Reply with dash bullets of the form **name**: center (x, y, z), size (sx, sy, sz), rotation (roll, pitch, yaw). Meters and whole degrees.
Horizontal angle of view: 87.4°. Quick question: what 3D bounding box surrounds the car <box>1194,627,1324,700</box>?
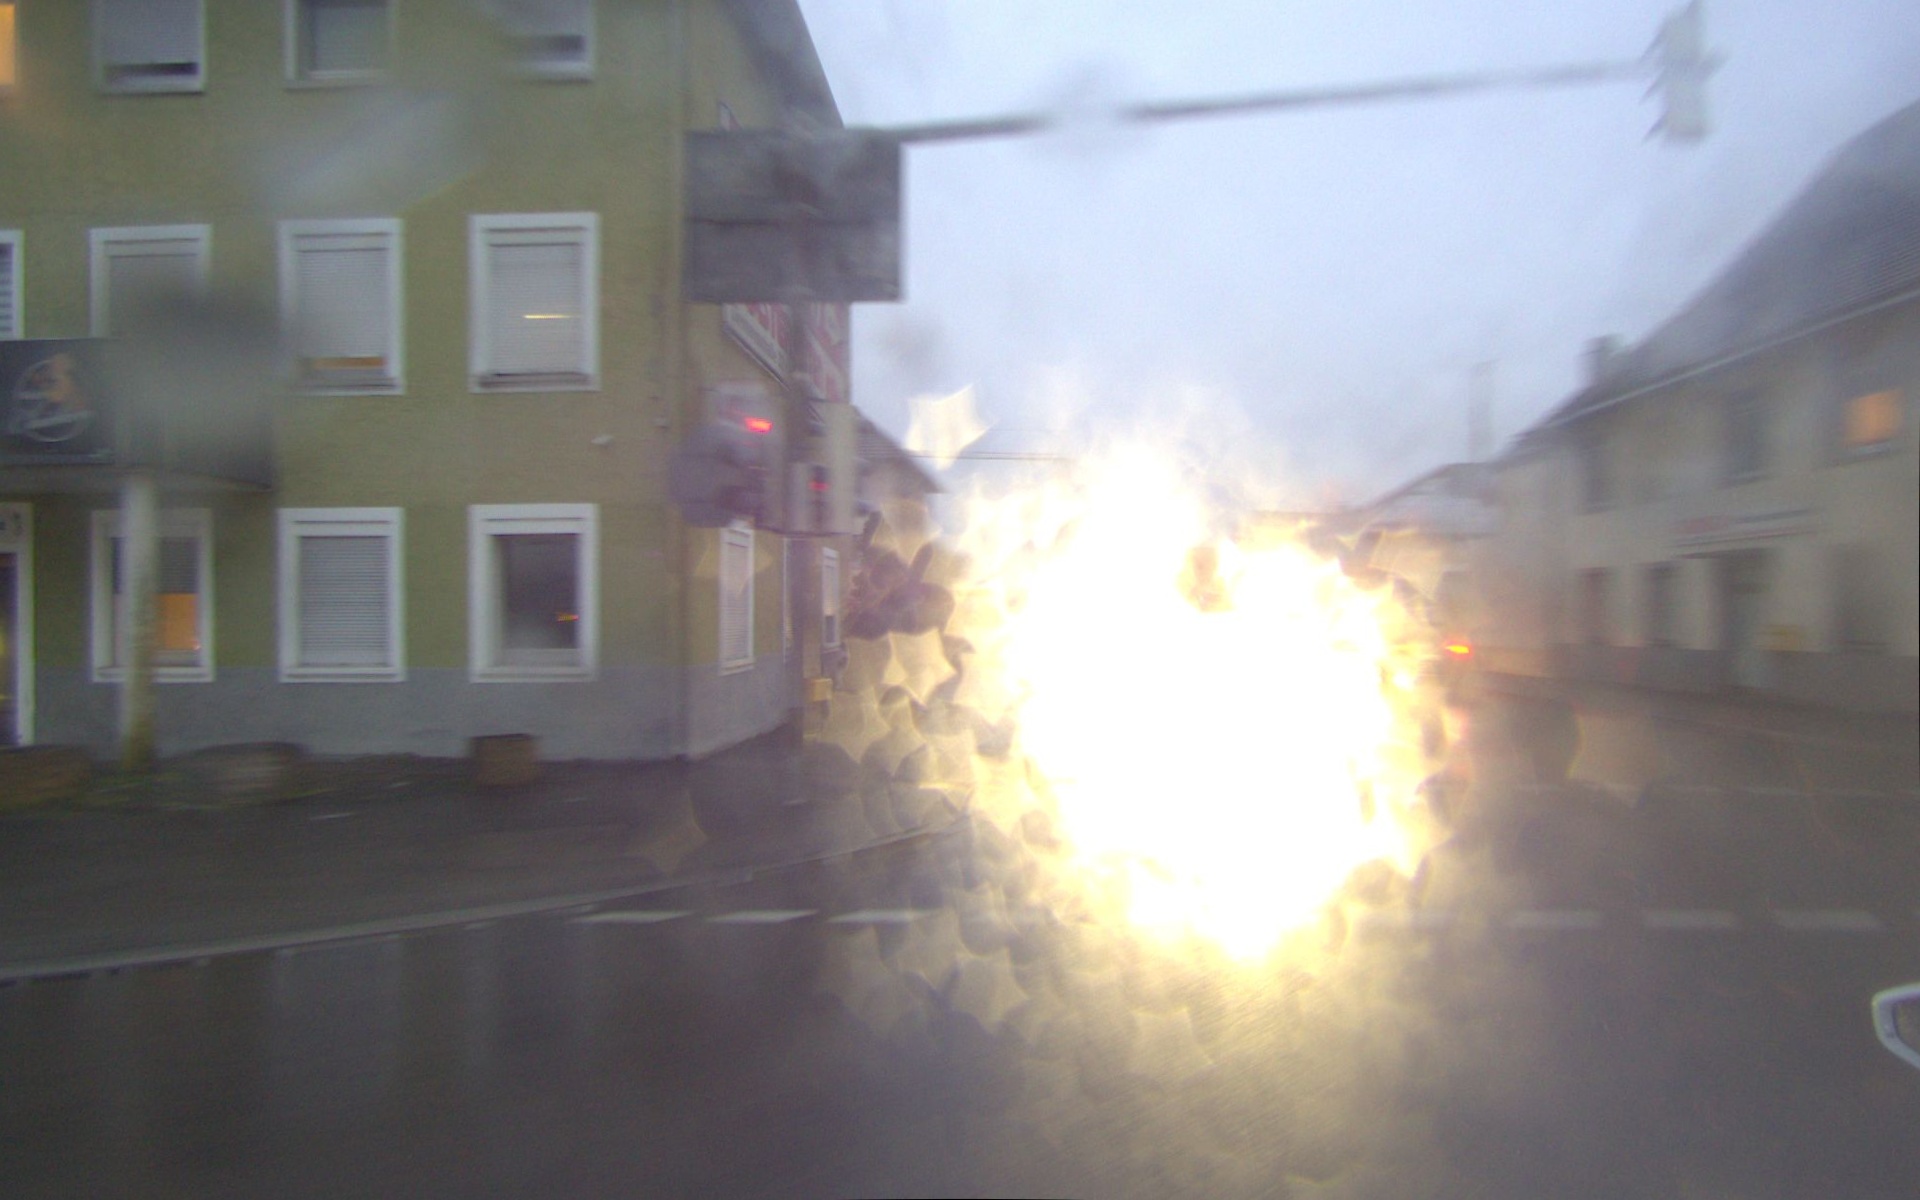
- **car**: center (6.642, 1.363, 22.814), size (1.848, 1.412, 4.525), rotation (0, -1, 4)

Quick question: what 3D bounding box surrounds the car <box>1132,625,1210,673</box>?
- **car**: center (6.827, 1.553, 32.918), size (1.795, 1.391, 4.287), rotation (0, -1, 2)

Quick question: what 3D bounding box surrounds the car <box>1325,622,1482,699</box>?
- **car**: center (10.136, 1.333, 23.385), size (2.012, 1.593, 4.706), rotation (0, -2, 6)

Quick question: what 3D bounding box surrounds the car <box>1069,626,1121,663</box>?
- **car**: center (6.200, 2.028, 46.662), size (1.844, 1.606, 4.291), rotation (-1, -1, 0)
